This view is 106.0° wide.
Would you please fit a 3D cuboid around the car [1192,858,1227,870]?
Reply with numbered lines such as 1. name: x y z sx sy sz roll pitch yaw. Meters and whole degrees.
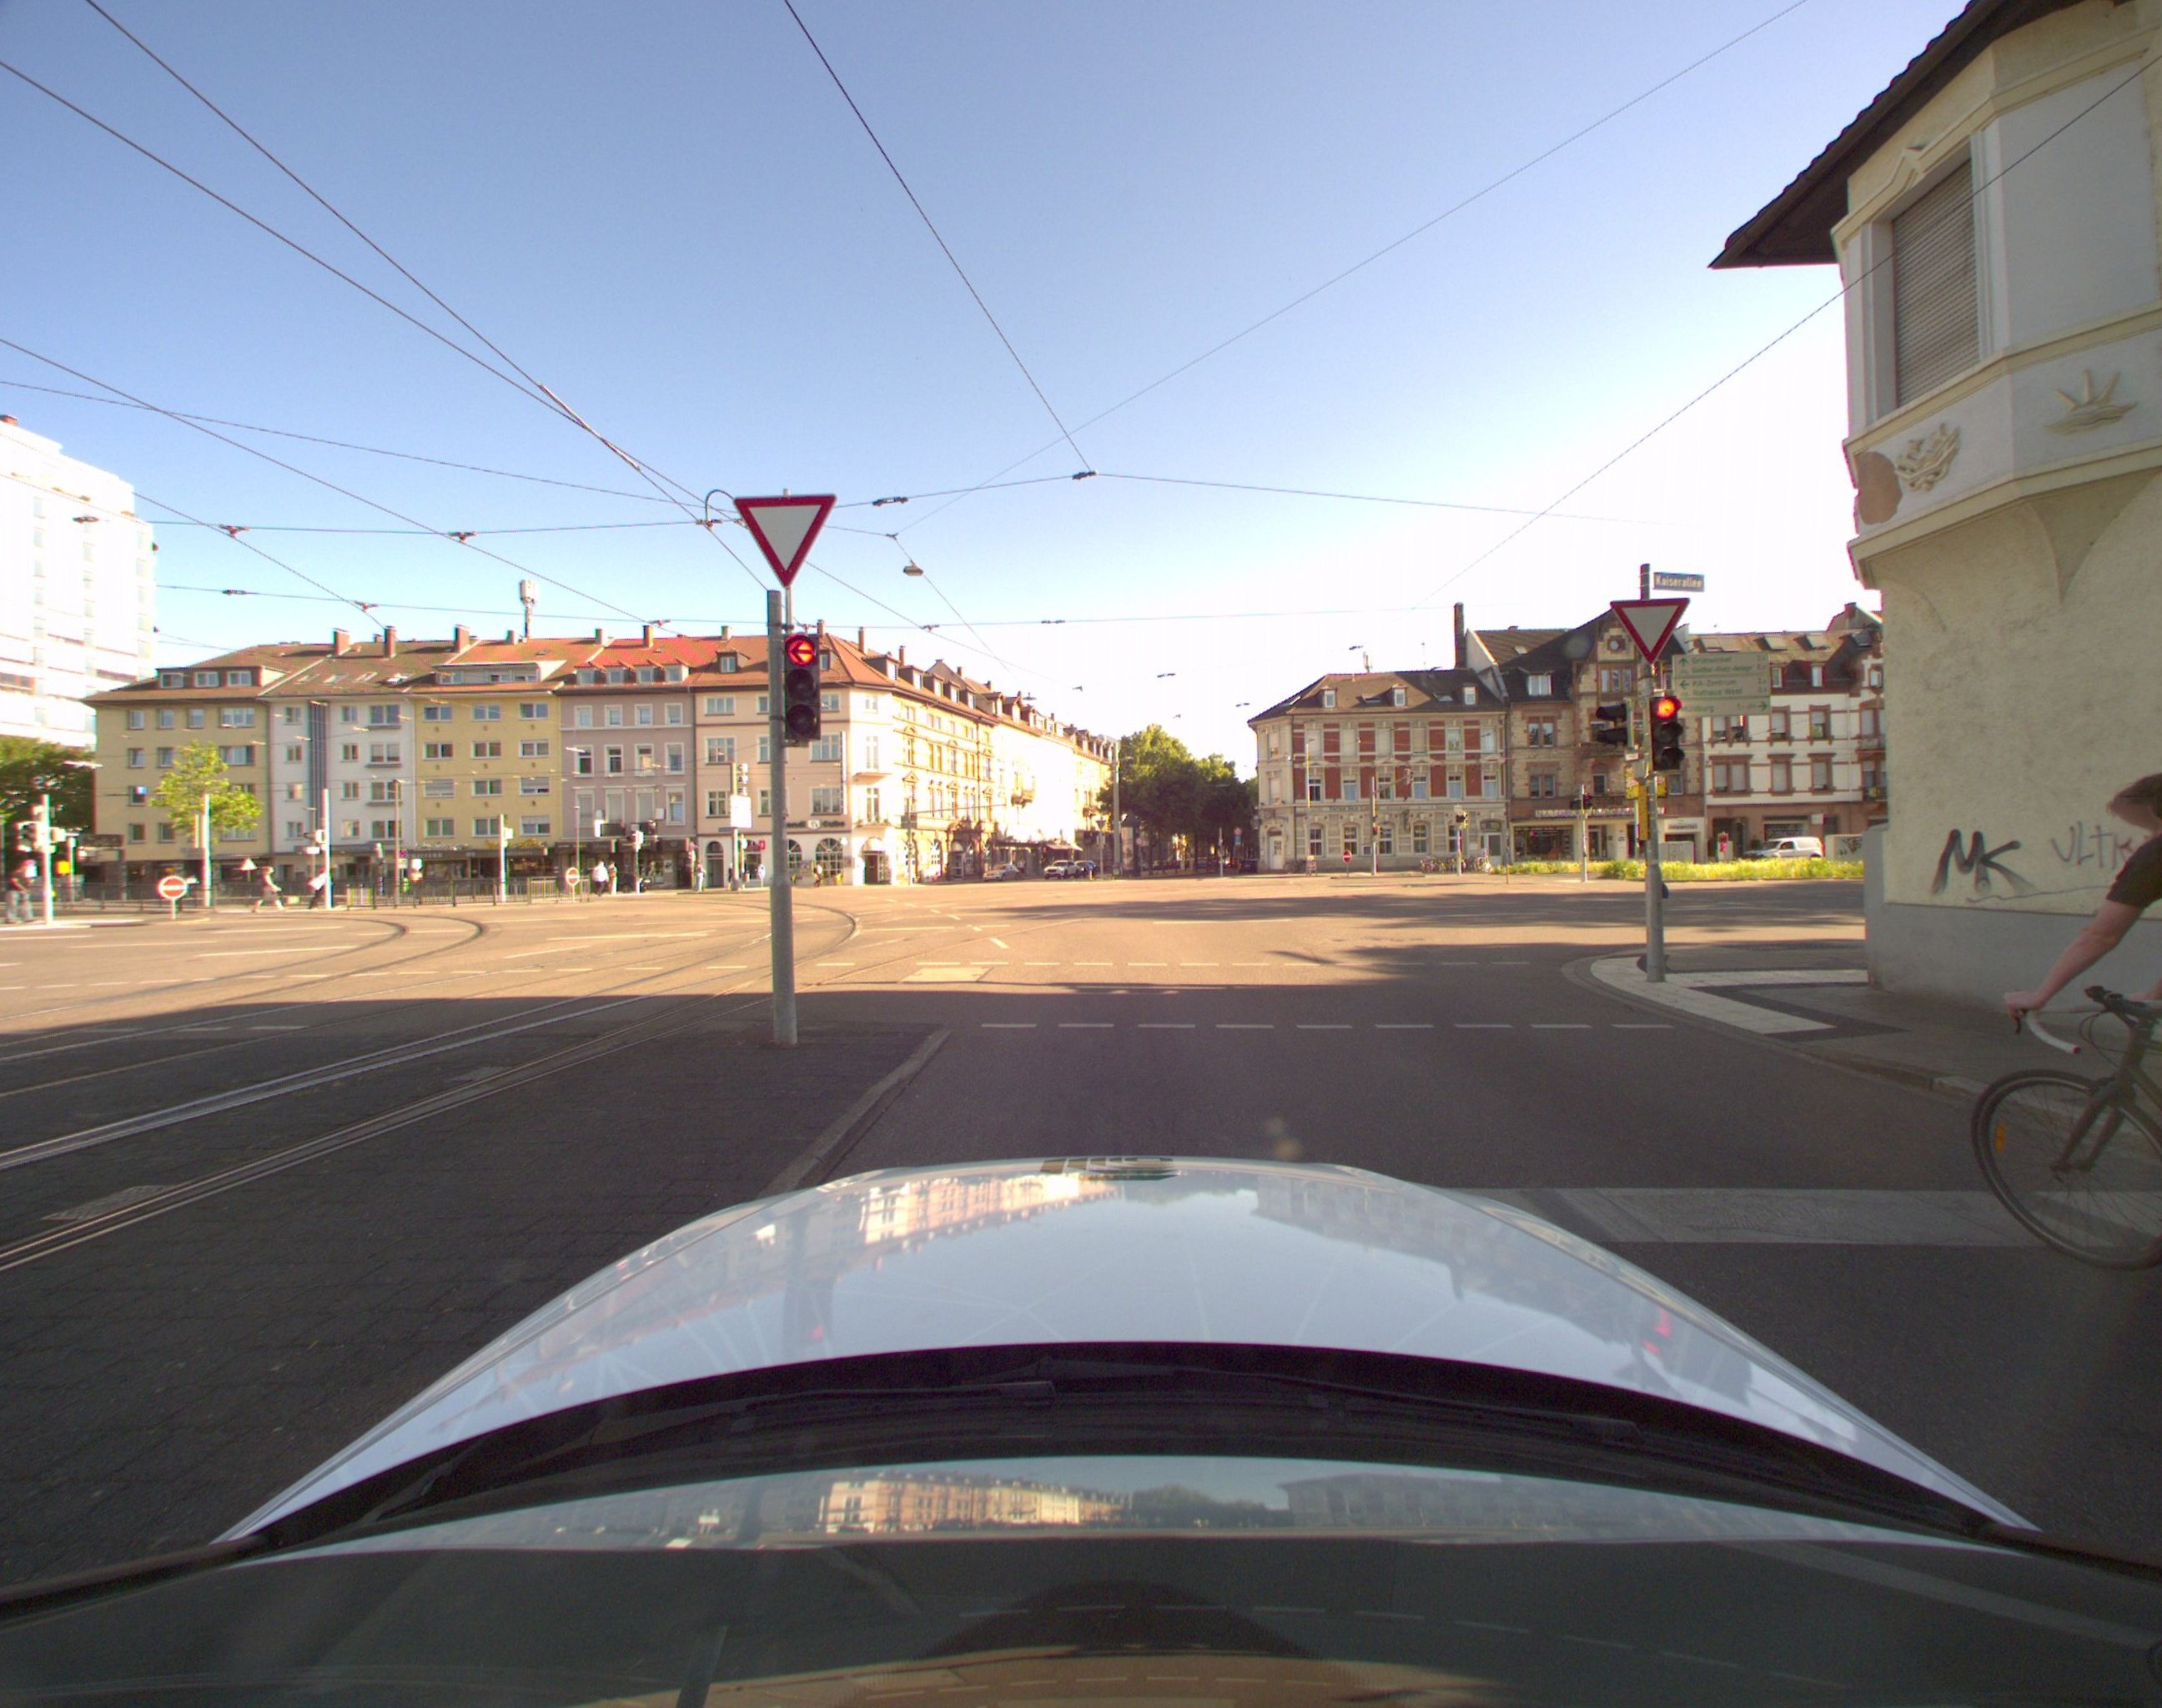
1. car: 18.146 1.371 115.003 4.335 1.612 2.012 -2 0 28

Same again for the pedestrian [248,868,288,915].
1. pedestrian: -29.631 1.355 29.682 0.817 1.655 0.957 -2 -1 40

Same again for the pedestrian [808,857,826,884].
1. pedestrian: -17.435 1.102 53.754 1.048 1.744 0.804 -1 0 -17

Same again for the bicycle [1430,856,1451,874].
1. bicycle: 23.281 0.694 52.834 0.615 1.143 2.178 -2 0 7

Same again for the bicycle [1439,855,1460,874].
1. bicycle: 23.860 0.674 52.781 0.615 1.143 2.178 -2 0 7

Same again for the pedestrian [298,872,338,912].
1. pedestrian: -28.781 1.419 30.717 0.814 1.454 0.937 -2 0 34

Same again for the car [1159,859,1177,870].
1. car: 13.912 1.696 130.328 1.822 1.552 4.412 -2 0 19

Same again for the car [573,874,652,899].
1. car: -30.618 2.136 53.329 3.974 1.453 2.000 -1 0 -1

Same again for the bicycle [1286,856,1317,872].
1. bicycle: 15.502 0.724 57.185 2.081 1.124 0.366 0 -1 -3

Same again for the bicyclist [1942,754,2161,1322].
1. bicyclist: 3.604 0.564 2.589 0.559 1.754 1.102 -2 0 4

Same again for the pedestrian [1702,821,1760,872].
1. pedestrian: 27.117 -0.302 33.996 1.314 2.044 1.307 -2 0 1

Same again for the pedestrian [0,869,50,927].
1. pedestrian: -33.510 1.383 25.807 0.790 1.771 0.674 -1 0 -21

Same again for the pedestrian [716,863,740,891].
1. pedestrian: -23.002 1.500 53.097 0.998 1.775 0.945 -2 0 16

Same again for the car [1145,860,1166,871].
1. car: 11.254 1.727 122.596 1.977 1.612 4.413 -2 0 20

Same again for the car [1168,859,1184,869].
1. car: 15.829 1.715 136.163 1.750 1.549 4.411 -2 0 18

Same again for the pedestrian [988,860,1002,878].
1. pedestrian: -7.830 1.369 74.215 0.921 1.535 1.142 -2 0 16

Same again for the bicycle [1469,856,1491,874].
1. bicycle: 25.758 0.692 52.596 0.606 1.136 2.139 -2 0 7

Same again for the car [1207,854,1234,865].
1. car: 22.830 0.967 133.299 3.948 1.706 2.013 -2 0 32

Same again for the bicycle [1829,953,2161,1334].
1. bicycle: 3.619 0.951 2.666 0.642 1.010 1.930 -2 0 4

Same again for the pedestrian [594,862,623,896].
1. pedestrian: -24.704 1.294 42.609 0.935 1.756 0.935 -2 0 1

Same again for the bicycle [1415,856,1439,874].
1. bicycle: 22.502 0.703 52.983 0.802 1.143 2.178 -2 0 7

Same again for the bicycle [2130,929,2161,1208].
1. bicycle: 4.539 0.861 2.440 0.516 1.116 1.815 -2 0 4

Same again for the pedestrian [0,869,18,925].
1. pedestrian: -35.242 1.400 26.323 0.787 1.771 0.678 -1 0 -6

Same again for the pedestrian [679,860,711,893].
1. pedestrian: -20.125 1.150 42.458 1.076 1.685 1.104 -2 0 1

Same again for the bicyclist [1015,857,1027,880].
1. bicyclist: -4.811 1.129 65.333 0.674 1.820 1.075 -2 0 14

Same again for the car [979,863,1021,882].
1. car: -6.681 1.519 67.376 1.883 1.455 4.020 -2 0 20

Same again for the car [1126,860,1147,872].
1. car: 7.533 1.664 110.976 1.978 1.486 4.017 -1 0 16

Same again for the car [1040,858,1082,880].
1. car: -1.606 1.249 67.533 1.977 1.684 4.413 -2 0 20

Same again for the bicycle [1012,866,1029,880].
1. bicycle: -4.815 1.509 65.290 0.675 1.066 2.133 -2 0 14

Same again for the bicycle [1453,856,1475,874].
1. bicycle: 24.781 0.713 52.686 0.615 1.143 2.178 -2 0 7

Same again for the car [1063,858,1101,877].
1. car: 0.118 1.215 74.011 1.977 1.612 4.413 -2 0 20

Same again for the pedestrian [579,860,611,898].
1. pedestrian: -23.378 1.184 39.200 0.935 1.756 0.935 -2 0 1

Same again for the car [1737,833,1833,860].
1. car: 45.361 -0.475 52.552 4.317 1.640 2.152 -2 0 1

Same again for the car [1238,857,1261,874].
1. car: 17.016 1.140 82.212 1.978 1.585 4.017 -2 0 16
